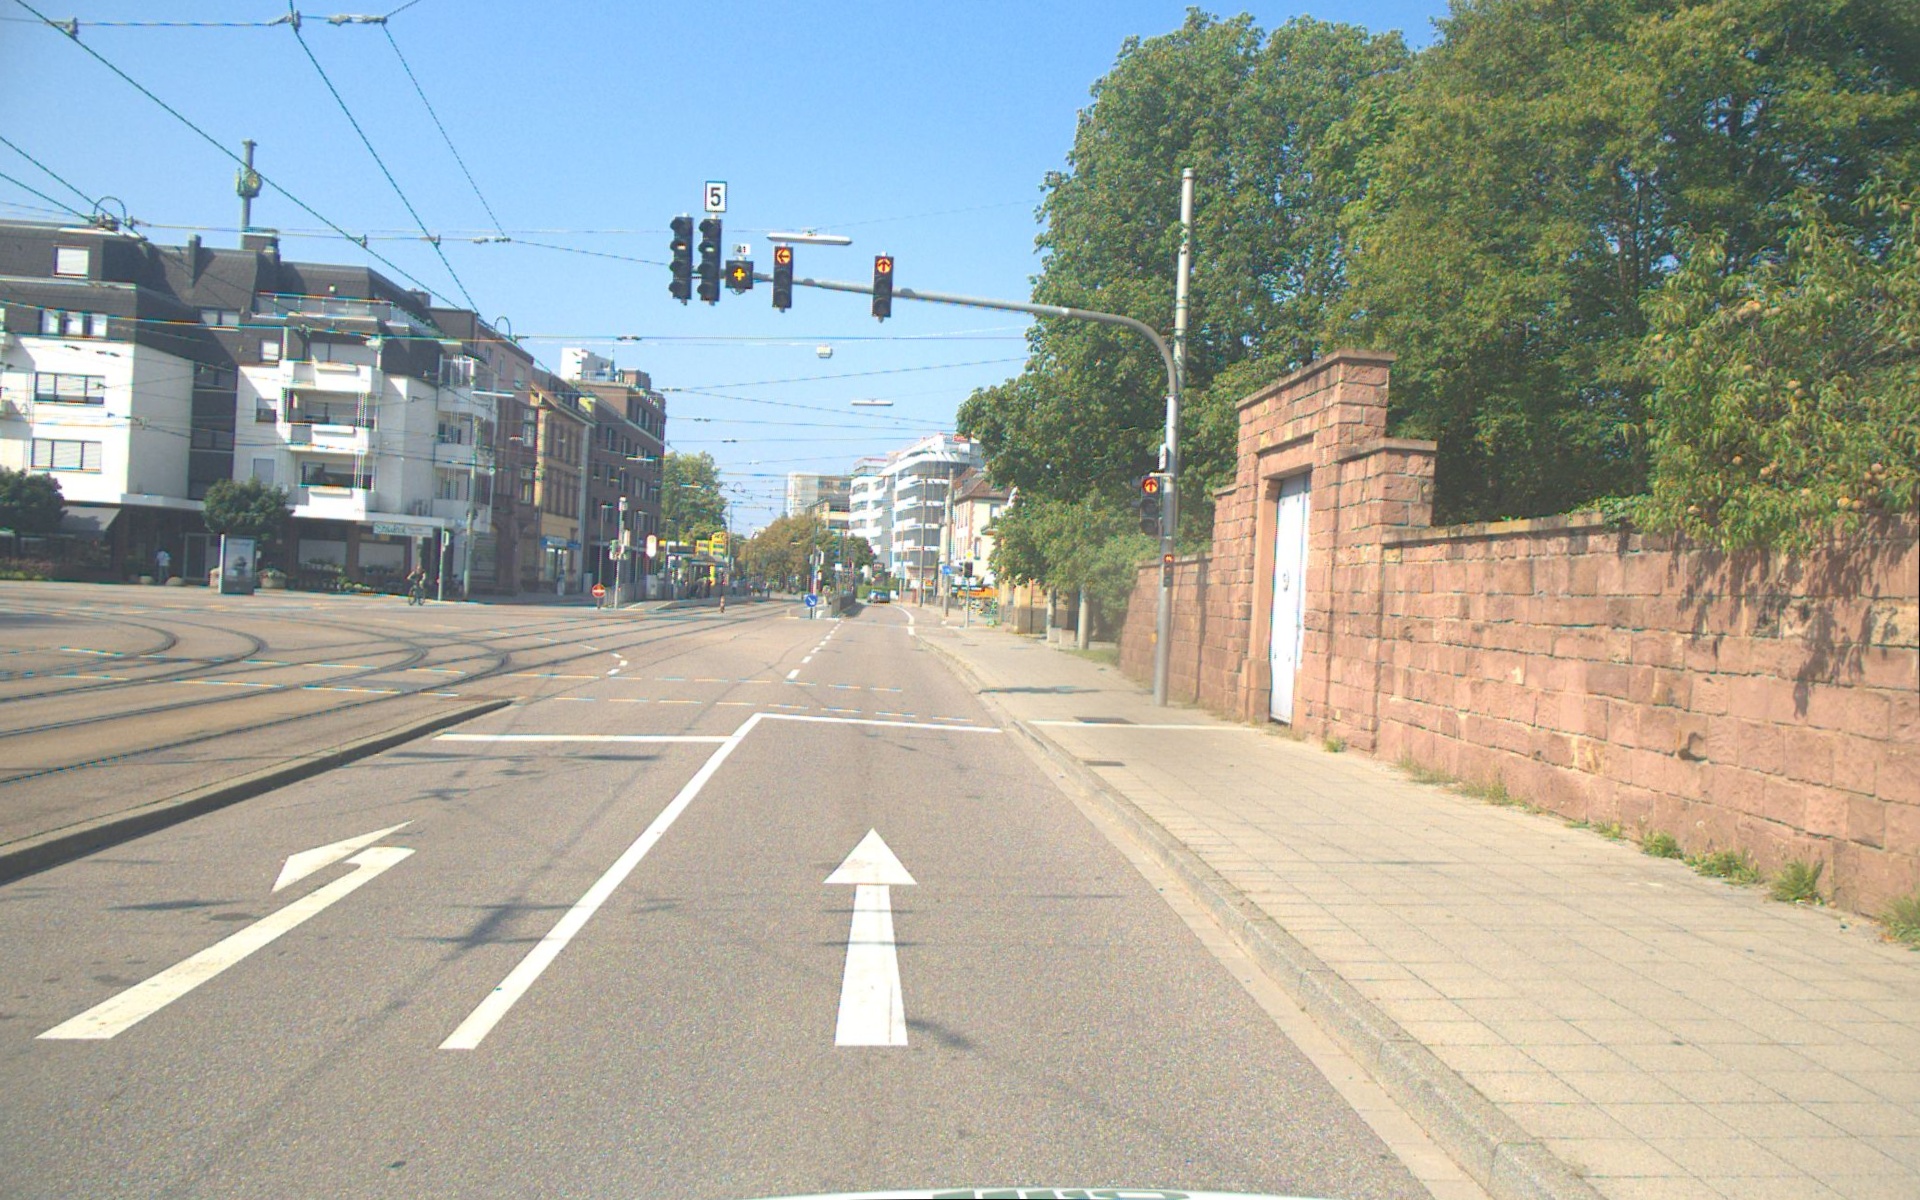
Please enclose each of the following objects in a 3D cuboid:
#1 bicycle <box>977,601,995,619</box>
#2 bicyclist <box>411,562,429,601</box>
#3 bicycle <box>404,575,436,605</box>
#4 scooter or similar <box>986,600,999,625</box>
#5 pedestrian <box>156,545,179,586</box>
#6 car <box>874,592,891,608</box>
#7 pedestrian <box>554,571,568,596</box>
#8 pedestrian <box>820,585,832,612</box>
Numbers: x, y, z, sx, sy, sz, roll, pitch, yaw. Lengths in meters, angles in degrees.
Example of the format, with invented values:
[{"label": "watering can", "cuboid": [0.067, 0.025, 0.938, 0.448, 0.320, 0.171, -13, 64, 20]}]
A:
[{"label": "bicycle", "cuboid": [1.735, 0.672, 110.763, 0.717, 1.152, 2.833, -1, 0, -10]}, {"label": "bicyclist", "cuboid": [-22.029, -0.751, 67.443, 0.556, 1.549, 0.489, 1, 0, -1]}, {"label": "bicycle", "cuboid": [-22.037, -0.423, 67.545, 0.563, 1.200, 2.207, 1, 0, -1]}, {"label": "scooter or similar", "cuboid": [1.563, 0.597, 78.753, 0.513, 1.153, 1.510, 1, 0, -2]}, {"label": "pedestrian", "cuboid": [-34.629, -1.499, 72.292, 0.666, 1.771, 0.698, 1, 0, -2]}, {"label": "car", "cuboid": [-9.367, -0.035, 199.793, 1.971, 1.891, 3.999, 1, 0, -2]}, {"label": "pedestrian", "cuboid": [-25.968, -1.079, 107.682, 0.473, 1.587, 0.888, 4, -1, 8]}, {"label": "pedestrian", "cuboid": [-8.482, -0.098, 104.606, 0.705, 1.733, 0.884, 1, 0, -2]}]
